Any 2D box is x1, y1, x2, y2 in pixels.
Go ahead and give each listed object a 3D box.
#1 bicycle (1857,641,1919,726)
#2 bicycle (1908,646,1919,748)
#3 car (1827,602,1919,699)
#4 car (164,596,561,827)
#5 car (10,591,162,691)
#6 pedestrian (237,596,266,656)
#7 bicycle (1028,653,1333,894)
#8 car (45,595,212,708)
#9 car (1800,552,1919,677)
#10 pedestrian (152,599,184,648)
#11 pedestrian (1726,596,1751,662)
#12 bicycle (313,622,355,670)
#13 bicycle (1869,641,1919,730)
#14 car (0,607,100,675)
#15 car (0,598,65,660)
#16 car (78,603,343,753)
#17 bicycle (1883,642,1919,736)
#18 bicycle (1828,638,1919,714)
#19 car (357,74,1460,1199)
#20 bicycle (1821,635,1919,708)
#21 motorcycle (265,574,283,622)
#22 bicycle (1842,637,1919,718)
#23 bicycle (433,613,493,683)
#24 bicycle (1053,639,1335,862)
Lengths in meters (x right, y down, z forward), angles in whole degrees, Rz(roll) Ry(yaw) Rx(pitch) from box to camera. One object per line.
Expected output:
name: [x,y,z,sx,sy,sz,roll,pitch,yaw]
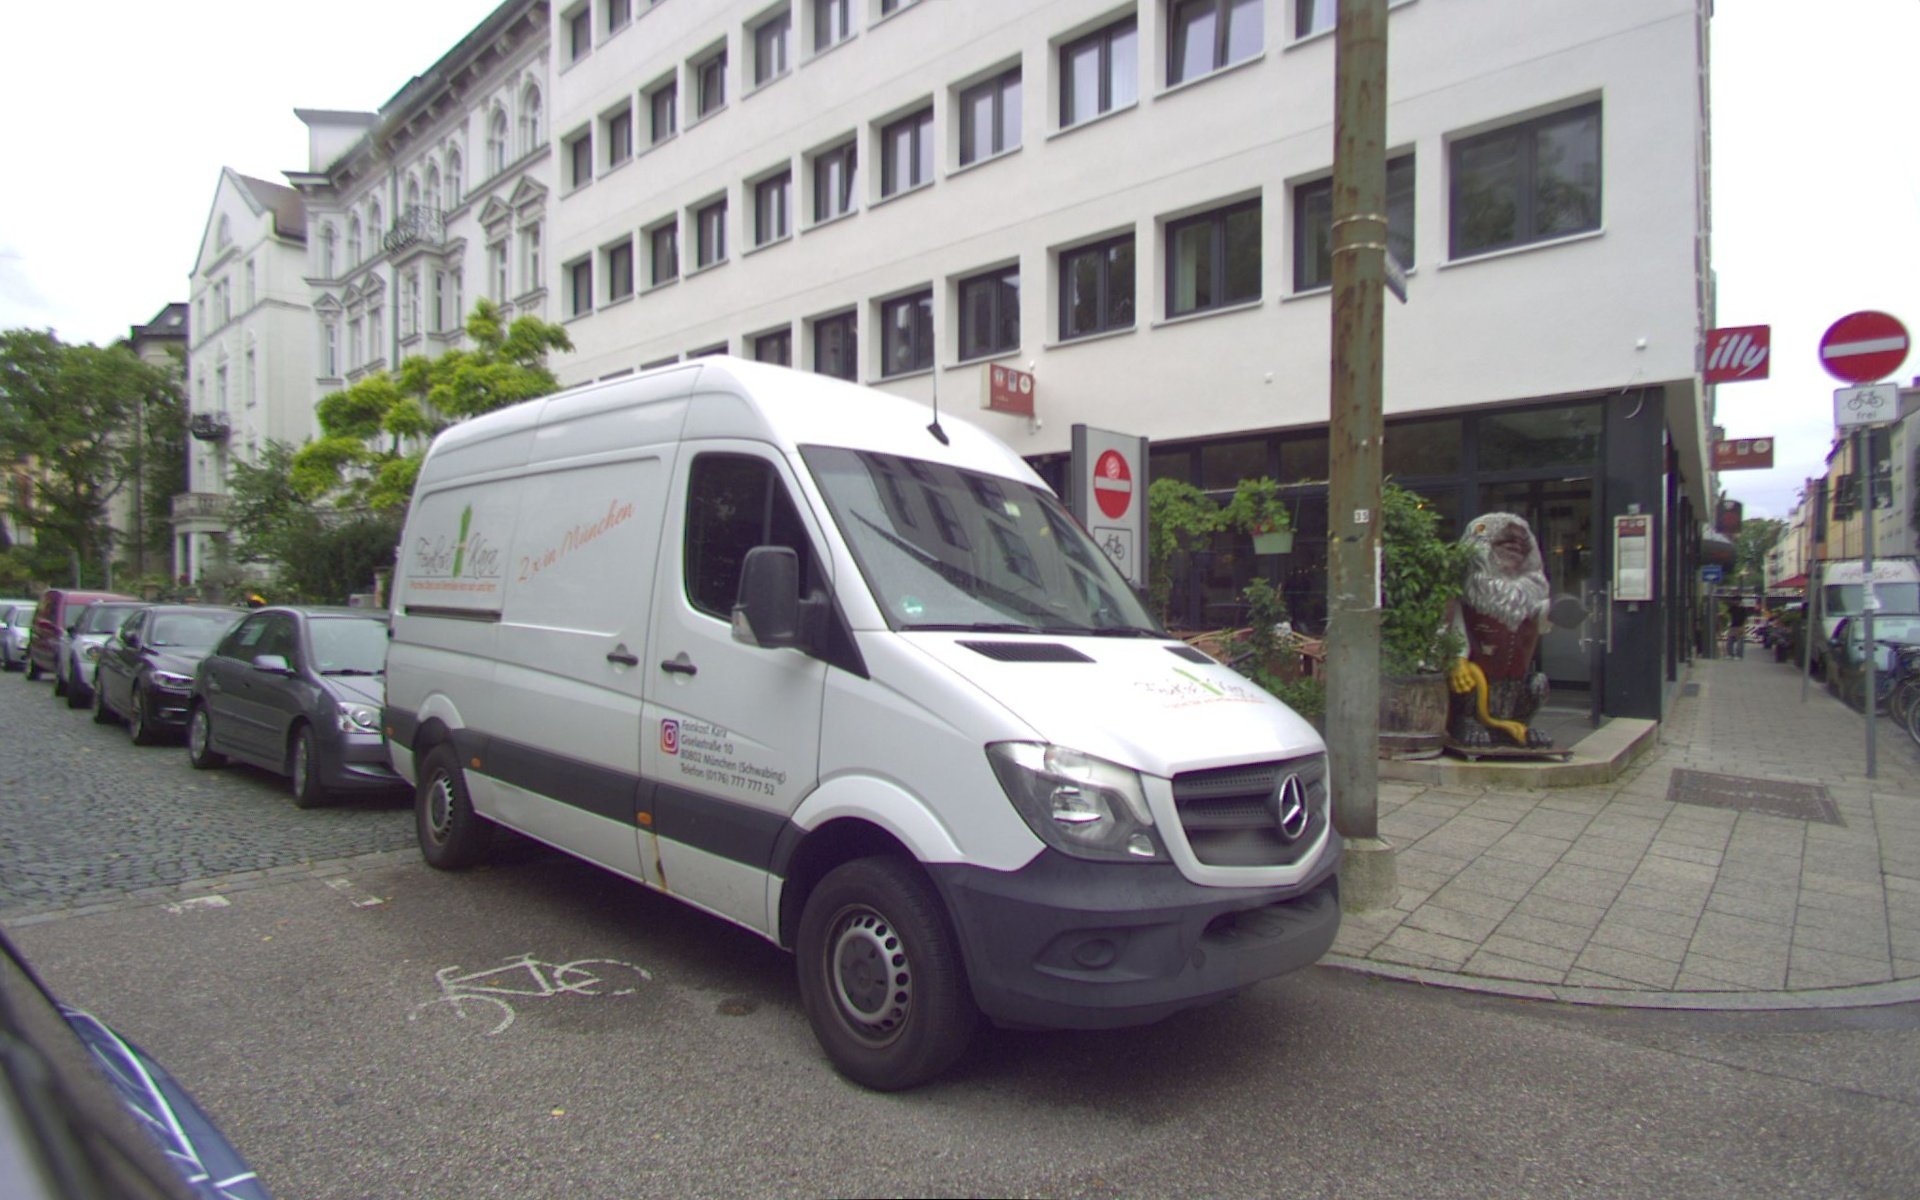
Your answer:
bicycle: [11.869,1.007,11.938,1.891,0.975,0.394,0,0,36]
bicycle: [10.198,0.951,9.476,1.891,0.975,0.394,0,0,36]
car: [15.129,0.752,16.306,1.487,1.418,3.646,0,-1,37]
car: [-5.140,0.721,8.496,3.979,1.494,1.645,0,0,40]
car: [-16.816,0.721,19.422,3.897,1.736,1.699,0,-1,42]
pedestrian: [-20.225,0.742,28.897,0.569,1.659,0.822,2,-2,-41]
bicycle: [1.182,0.906,5.775,1.806,1.135,0.252,0,0,41]
car: [-12.875,0.690,15.596,1.673,1.515,3.780,0,0,-44]
car: [20.043,0.255,22.283,1.961,2.406,6.405,0,0,36]
pedestrian: [-27.211,0.791,34.793,0.656,1.640,0.671,0,0,-16]
pedestrian: [20.733,0.763,26.953,0.521,1.753,0.487,0,-1,37]
bicycle: [-14.429,1.053,23.321,1.683,1.086,0.255,-2,-1,38]
bicycle: [11.383,0.976,11.223,1.891,0.975,0.394,0,0,36]
car: [-21.416,0.898,23.516,3.813,1.404,1.615,0,0,40]
car: [-26.055,0.750,27.780,4.065,1.584,1.672,0,0,40]
car: [-9.090,0.812,12.119,4.473,1.476,1.707,0,-3,43]
bicycle: [10.824,0.954,10.437,1.891,0.975,0.394,0,0,36]
bicycle: [13.051,1.038,13.739,1.891,0.975,0.394,0,0,36]
car: [-0.916,0.093,5.032,5.794,2.593,1.955,0,-2,43]
bicycle: [13.419,1.015,14.292,1.891,0.975,0.394,0,0,36]
motorcycle: [-17.448,-0.056,25.753,0.326,1.188,1.630,0,0,-33]
bicycle: [12.338,0.986,12.697,1.891,0.975,0.394,0,0,36]
bicycle: [-9.050,0.843,18.403,1.911,1.183,0.356,0,0,44]
bicycle: [1.334,0.828,6.058,1.730,1.135,0.252,0,0,41]
